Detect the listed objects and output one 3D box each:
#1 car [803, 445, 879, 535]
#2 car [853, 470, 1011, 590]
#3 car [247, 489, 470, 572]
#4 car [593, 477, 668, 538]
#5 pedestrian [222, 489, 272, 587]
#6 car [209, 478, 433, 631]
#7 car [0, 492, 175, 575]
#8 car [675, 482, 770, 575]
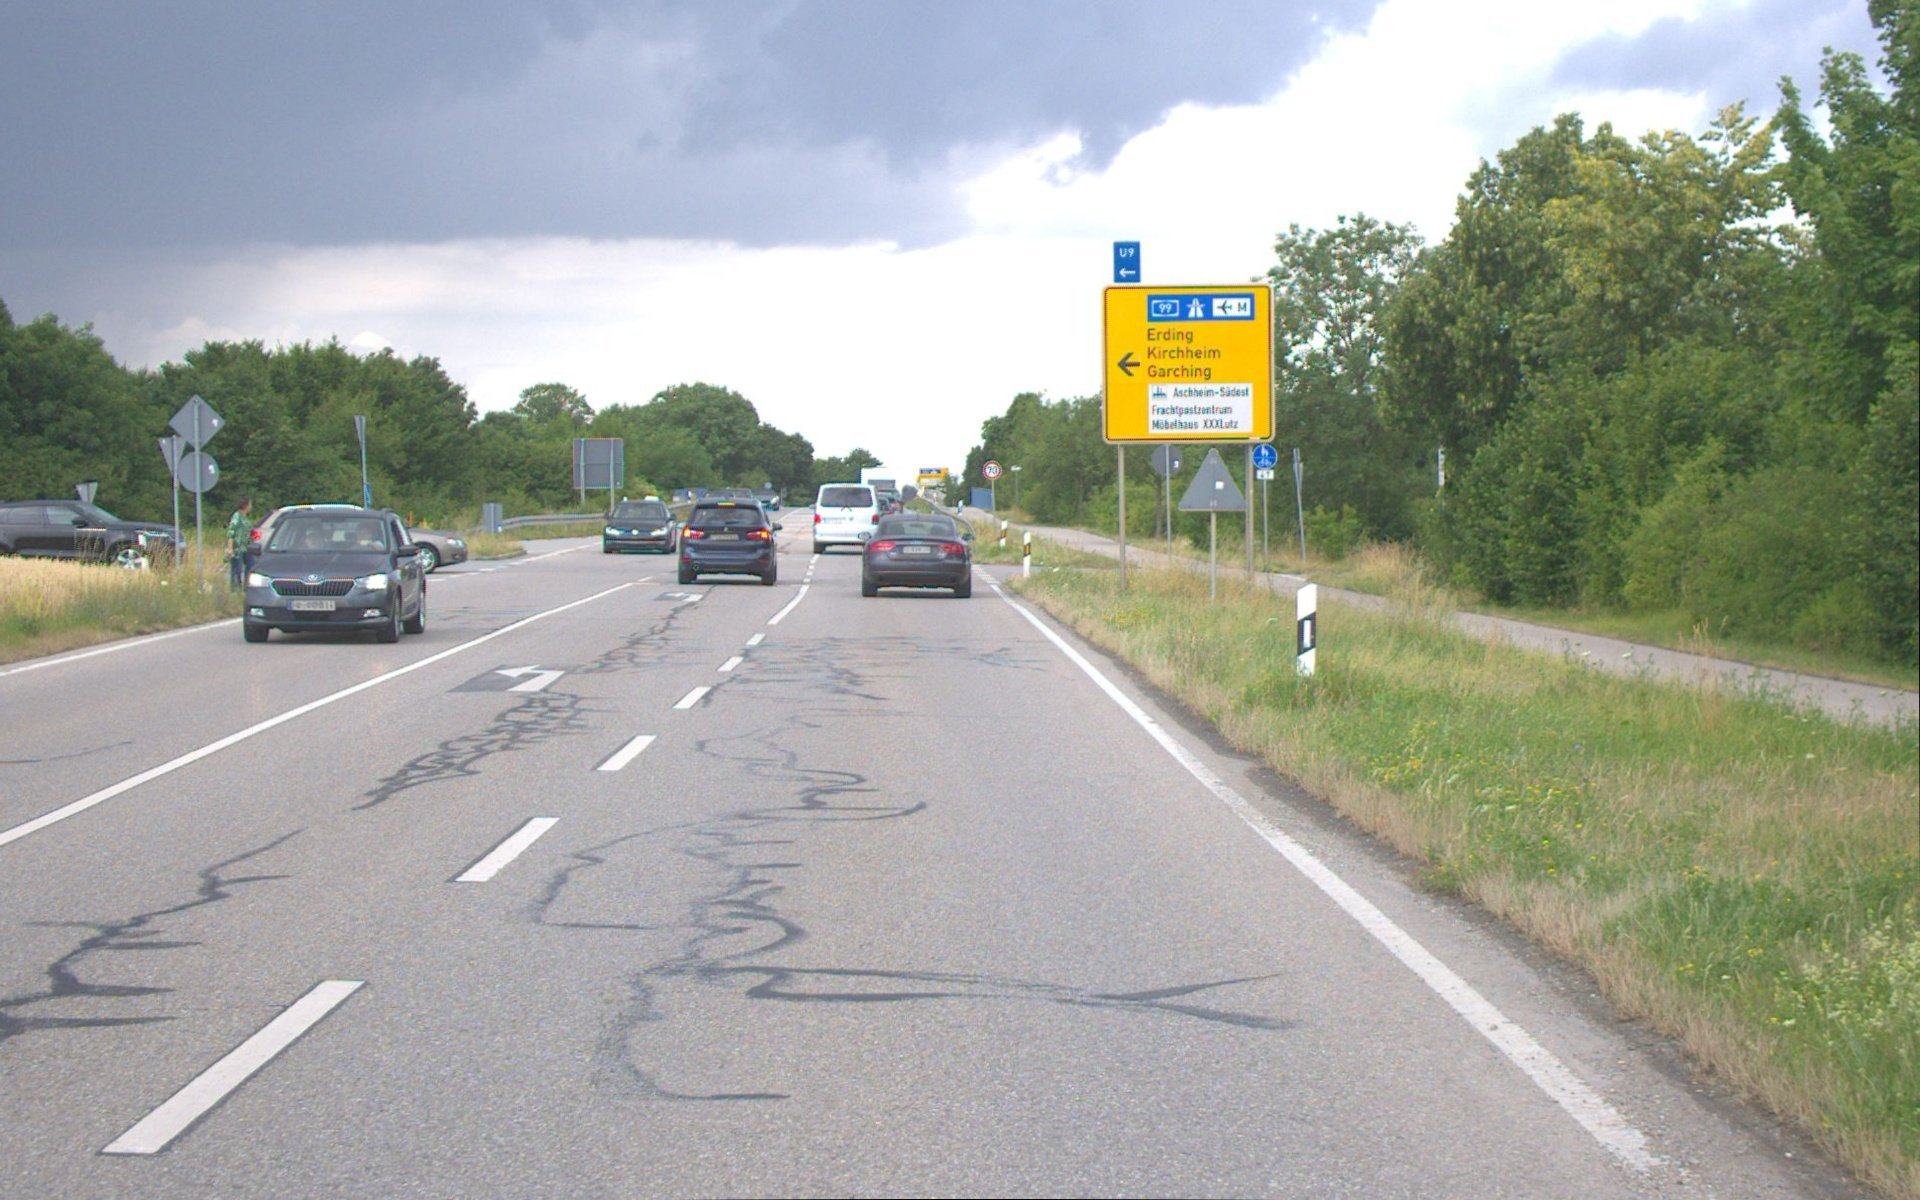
[{"bbox_3d":[-3.307,-3.074,96.506,1.999,2.443,4.852,-1,1,-1],"label":"car"},{"bbox_3d":[-0.518,-1.195,58.344,2.371,1.874,4.479,-2,2,-3],"label":"car"},{"bbox_3d":[-12.422,-1.442,71.172,4.411,1.643,1.503,-1,1,-6],"label":"car"},{"bbox_3d":[-8.855,-2.503,92.600,1.646,1.585,4.000,-1,2,-1],"label":"car"},{"bbox_3d":[-11.518,-0.998,55.542,0.367,1.570,0.702,0,2,35],"label":"pedestrian"},{"bbox_3d":[-7.163,-0.541,38.887,1.853,1.624,4.001,-1,2,-1],"label":"car"},{"bbox_3d":[-18.526,-1.372,70.734,4.412,1.643,1.502,-1,1,-4],"label":"car"},{"bbox_3d":[-4.472,-1.362,65.040,1.571,1.695,4.000,-1,1,-1],"label":"car"}]
